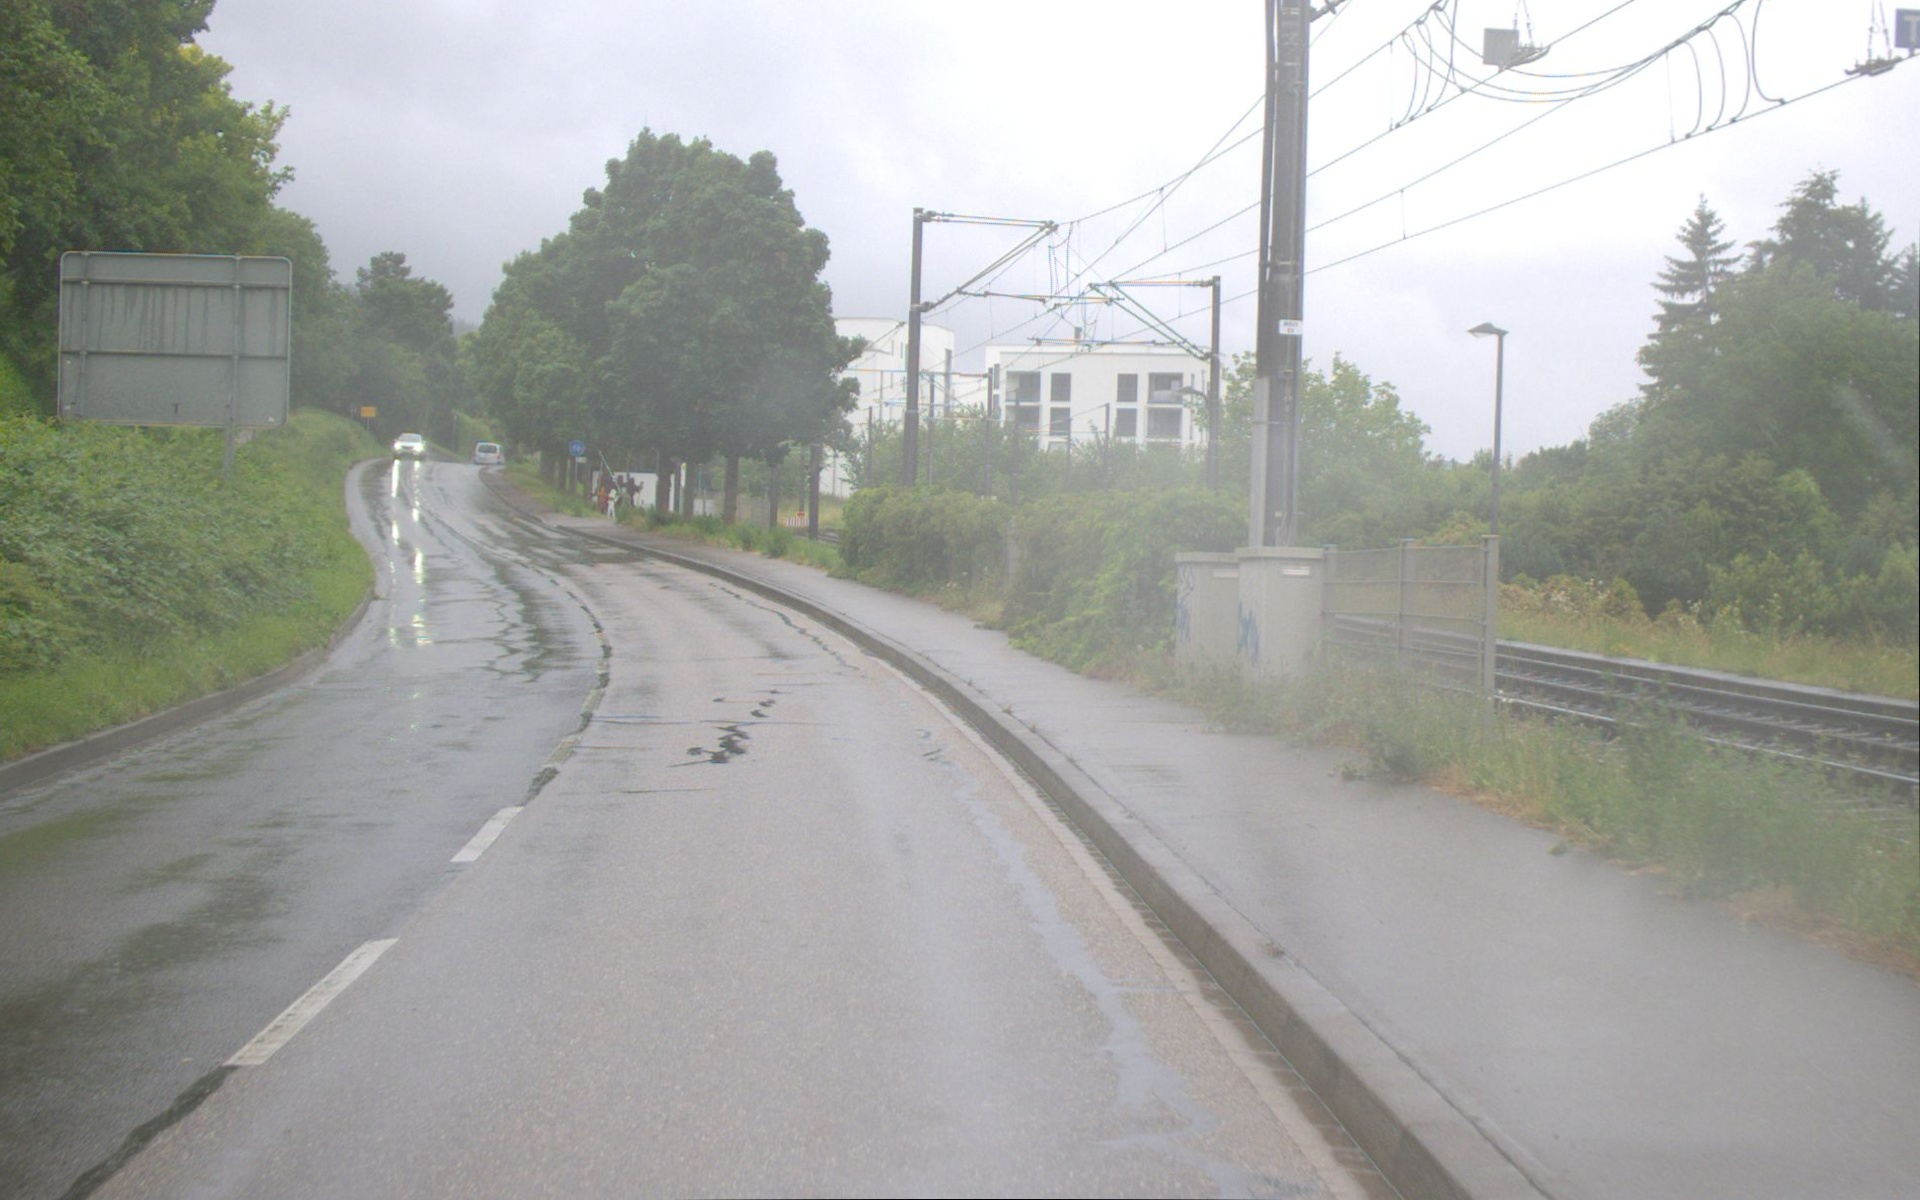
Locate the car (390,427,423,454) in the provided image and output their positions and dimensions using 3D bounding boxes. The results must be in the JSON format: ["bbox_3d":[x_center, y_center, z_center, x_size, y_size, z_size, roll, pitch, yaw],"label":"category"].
[{"bbox_3d":[-34.452,-9.939,214.009,1.744,1.606,4.089,2,3,-6],"label":"car"}]
